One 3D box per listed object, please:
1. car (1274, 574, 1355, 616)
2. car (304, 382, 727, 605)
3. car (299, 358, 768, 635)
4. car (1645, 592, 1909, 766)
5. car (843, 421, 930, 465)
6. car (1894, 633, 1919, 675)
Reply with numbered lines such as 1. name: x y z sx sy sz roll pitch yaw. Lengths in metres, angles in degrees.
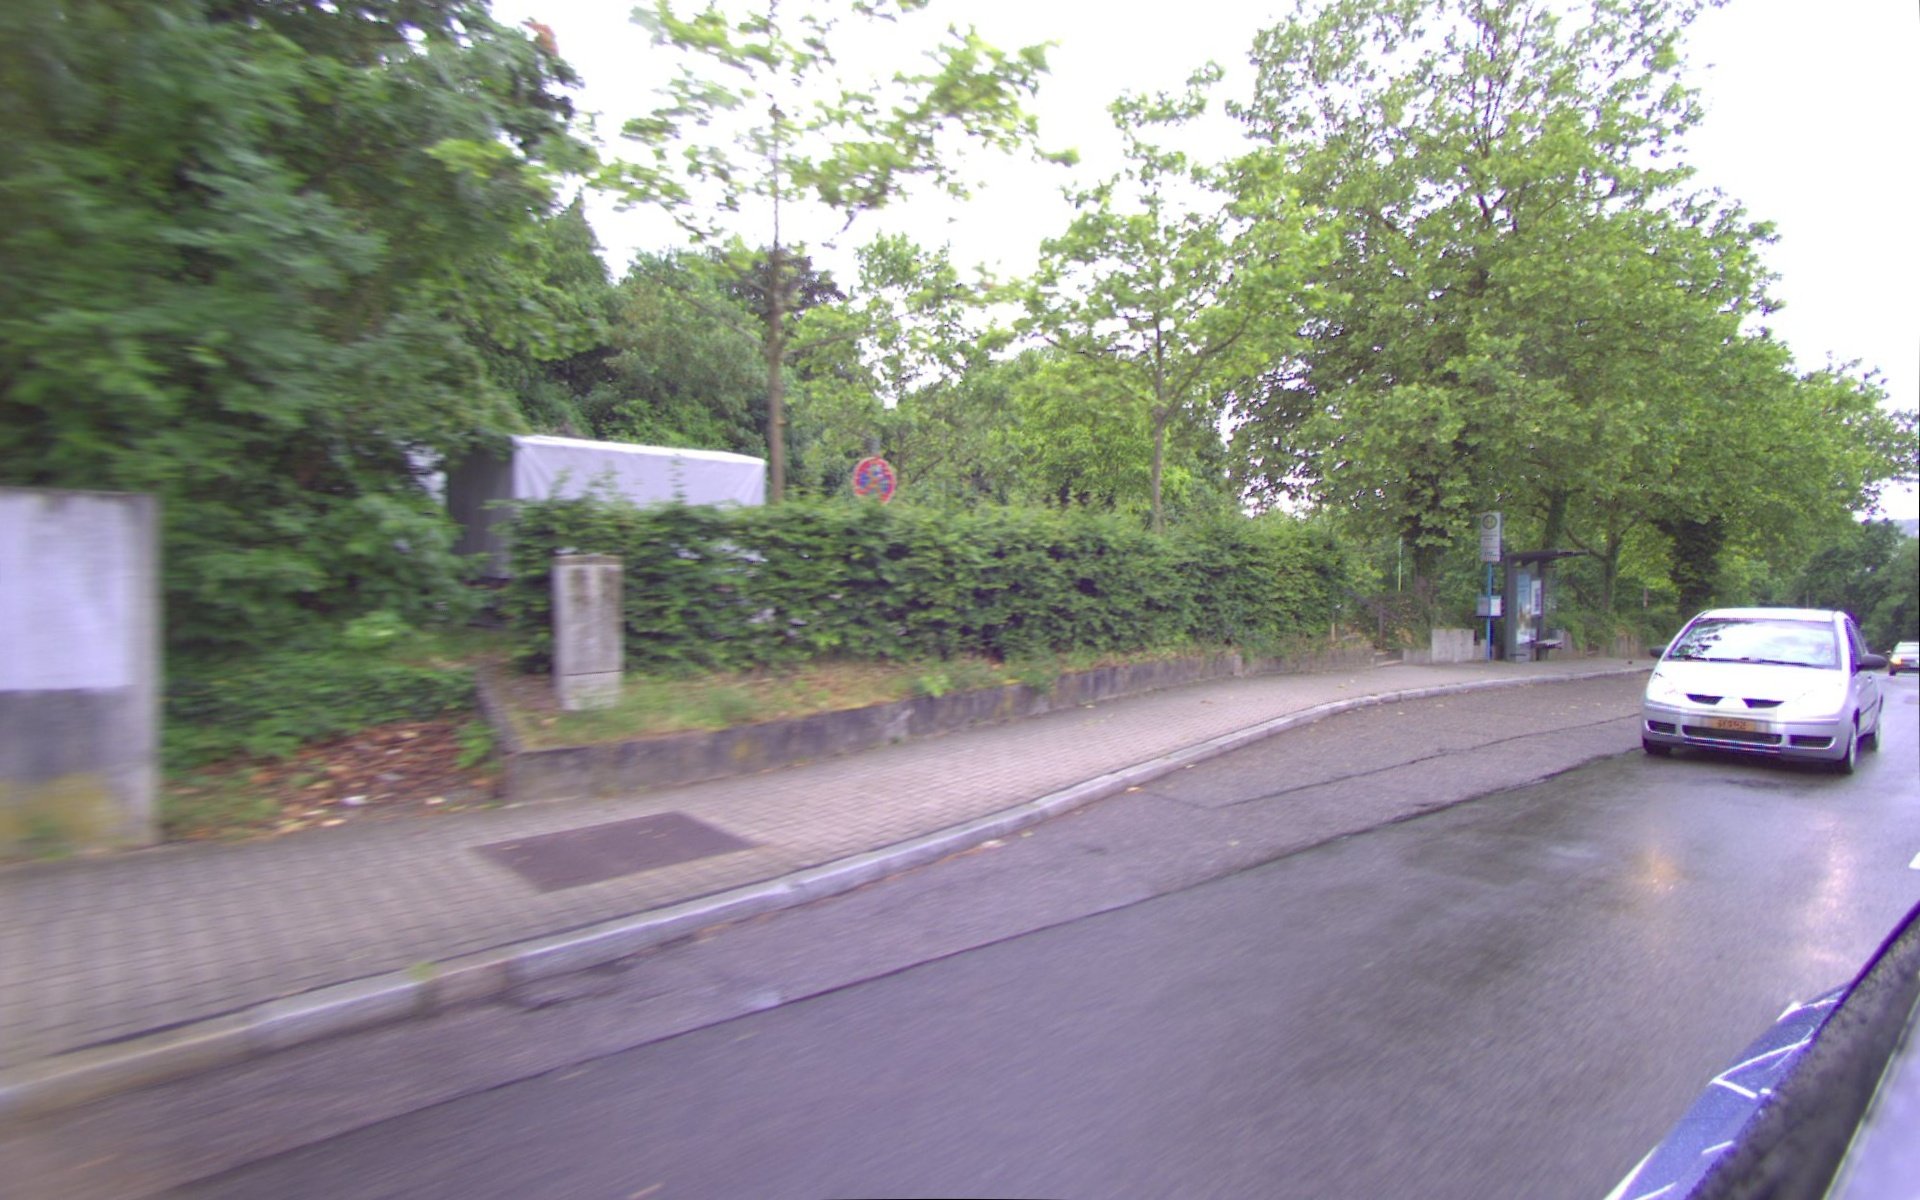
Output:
1. car: 14.621 -0.171 41.615 1.891 1.472 4.110 -2 -4 39
2. car: -5.849 -1.192 14.005 2.038 2.314 4.950 0 -3 36
3. car: -4.299 -0.834 10.754 1.990 2.255 4.073 0 -3 39
4. car: 8.807 0.719 10.795 3.932 1.524 1.638 1 -1 -43
5. car: -3.779 -8.072 52.203 4.121 1.793 1.793 0 -3 16
6. car: 41.085 2.310 42.694 3.929 1.723 2.033 4 -4 -41
